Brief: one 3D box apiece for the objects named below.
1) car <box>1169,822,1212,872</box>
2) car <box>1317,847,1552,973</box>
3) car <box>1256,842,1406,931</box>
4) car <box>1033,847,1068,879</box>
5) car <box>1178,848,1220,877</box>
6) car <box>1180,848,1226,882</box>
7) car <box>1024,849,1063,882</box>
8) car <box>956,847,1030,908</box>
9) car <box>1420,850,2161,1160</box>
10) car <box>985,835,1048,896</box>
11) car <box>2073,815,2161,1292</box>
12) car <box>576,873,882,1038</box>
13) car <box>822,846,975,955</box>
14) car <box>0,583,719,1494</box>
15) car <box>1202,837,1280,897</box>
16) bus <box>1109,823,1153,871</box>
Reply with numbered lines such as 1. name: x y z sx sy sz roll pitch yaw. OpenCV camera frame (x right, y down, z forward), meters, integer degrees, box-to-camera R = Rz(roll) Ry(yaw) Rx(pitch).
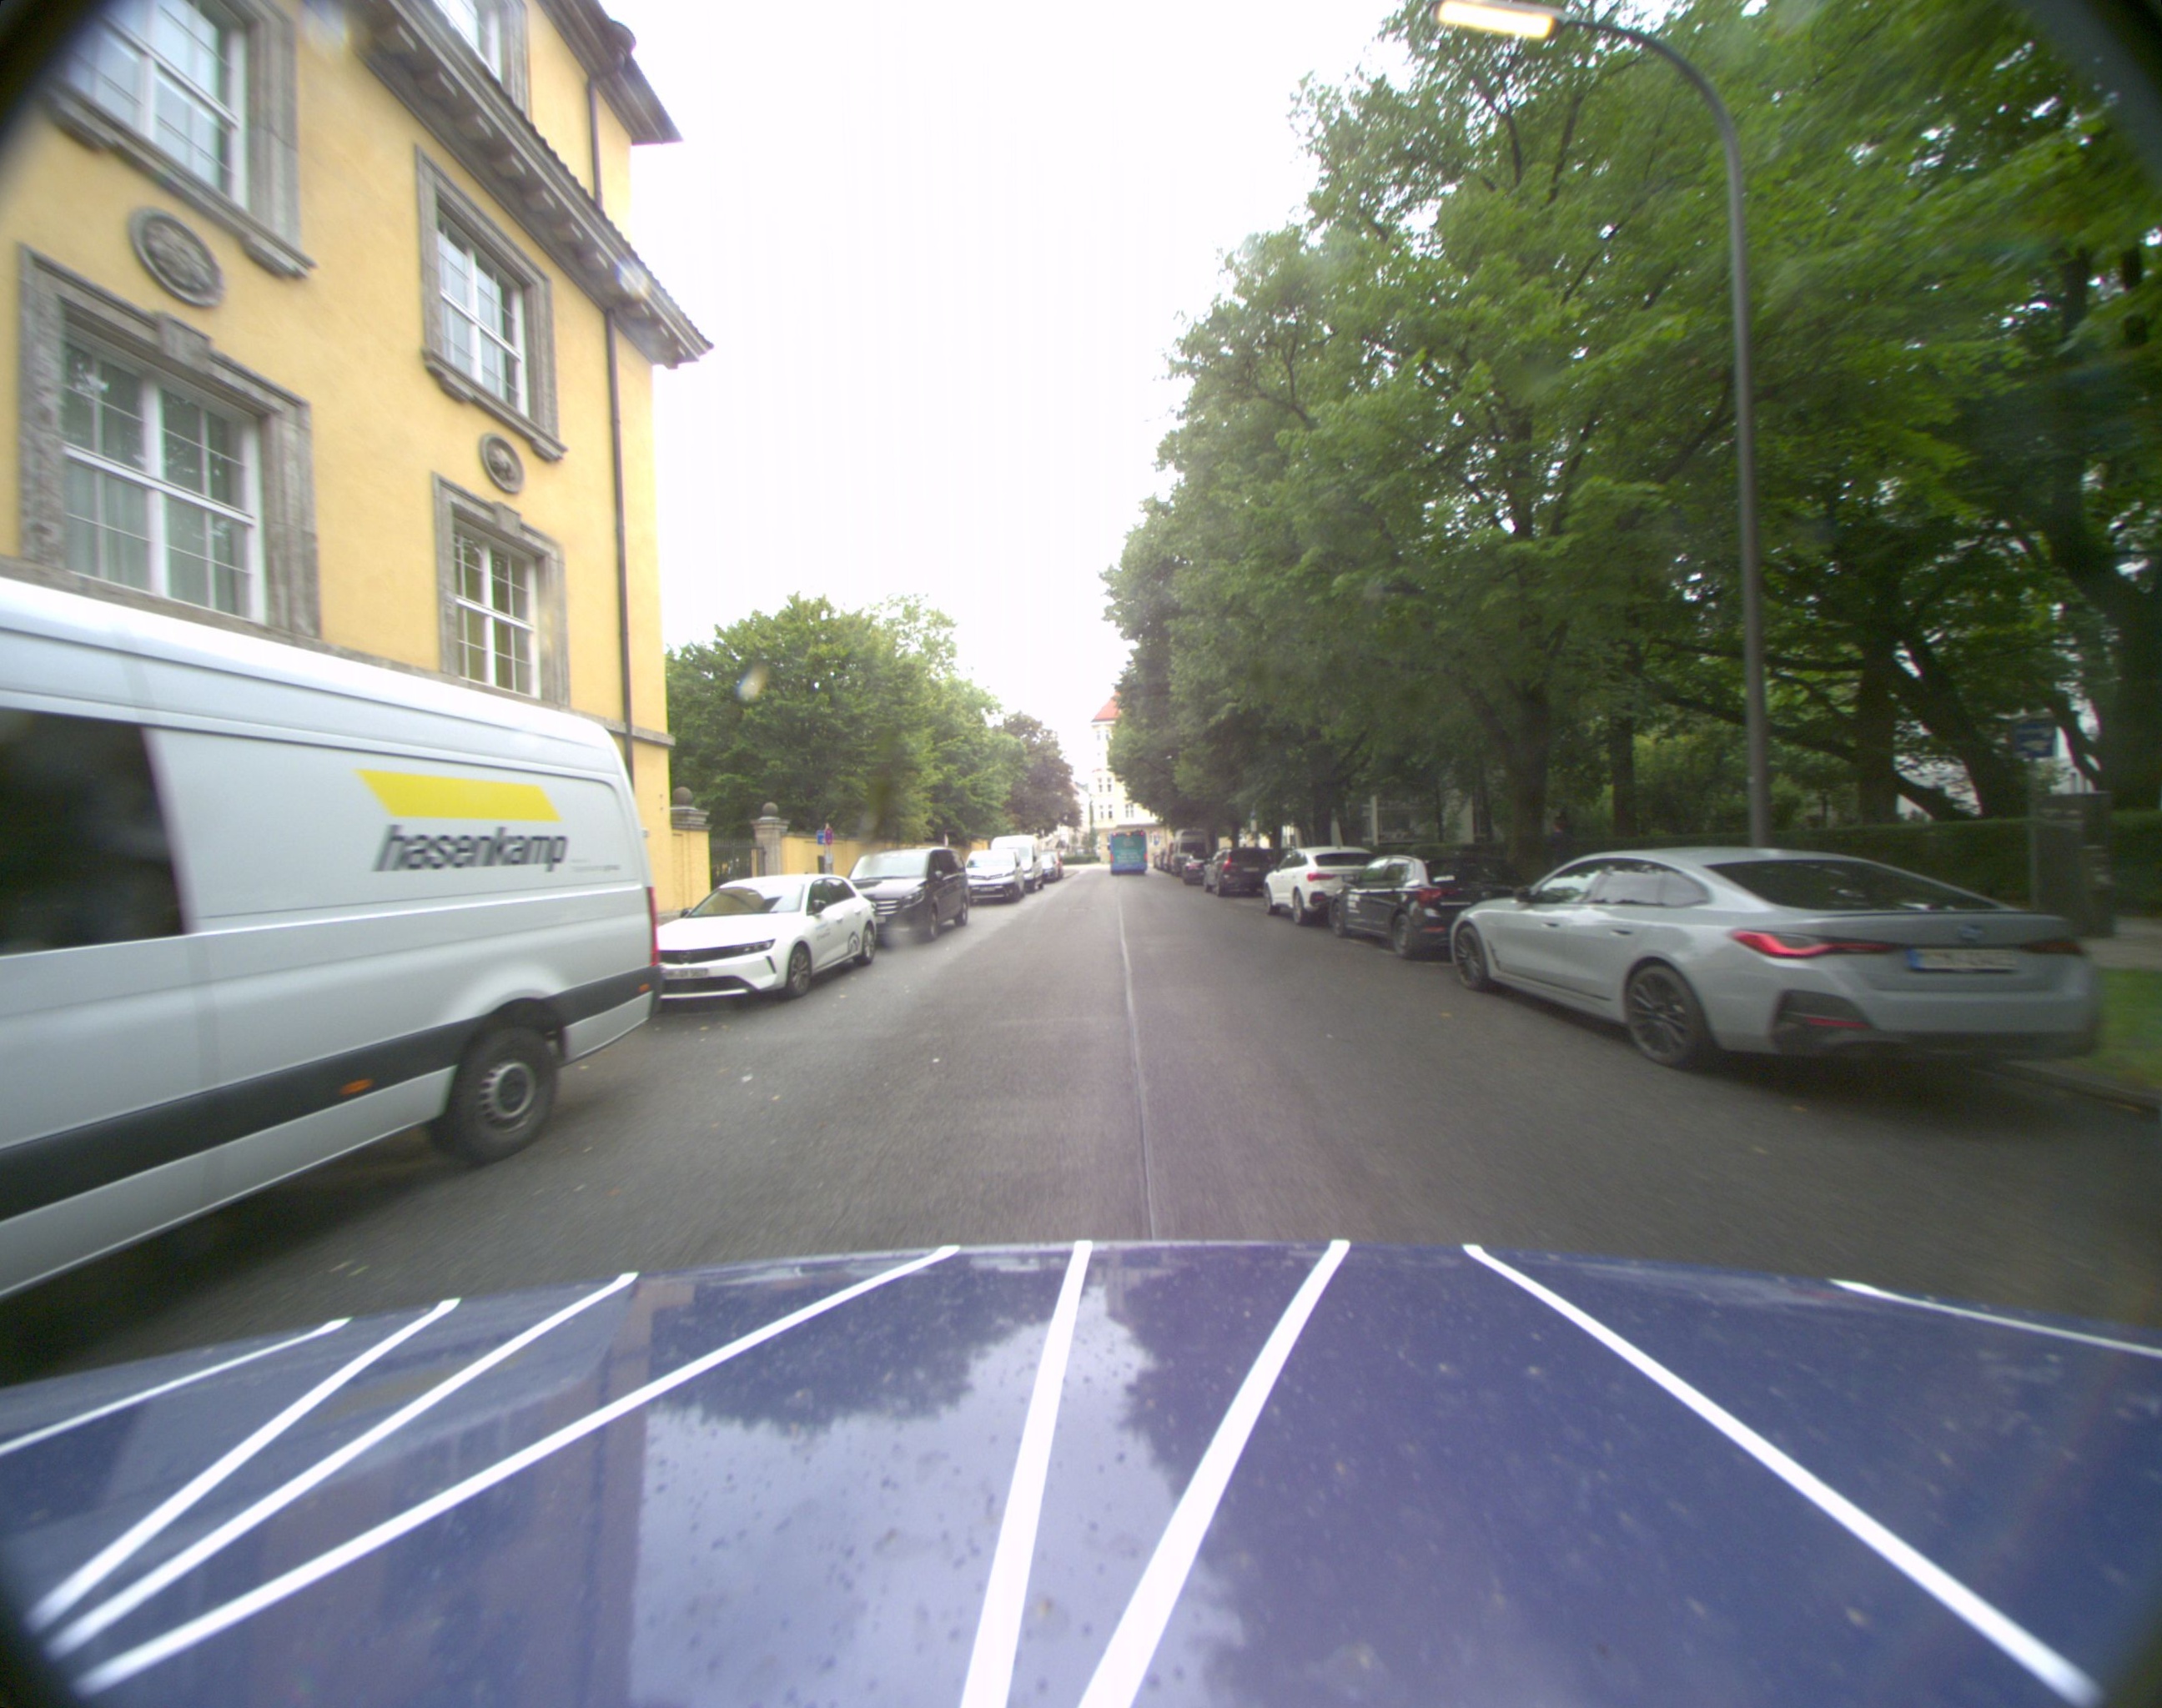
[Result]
1. car: 6.797 -0.489 47.747 1.949 2.838 6.235 -2 2 3
2. car: 5.015 0.678 11.469 1.676 1.461 4.103 -2 1 1
3. car: 5.158 0.572 16.373 1.788 1.588 4.584 -2 1 1
4. car: -1.966 0.540 50.616 1.863 1.956 5.445 -2 0 2
5. car: 6.410 0.433 41.606 1.794 1.429 4.579 -2 0 4
6. car: 5.637 0.498 35.534 1.794 1.429 4.553 -2 0 6
7. car: -2.186 0.662 45.439 1.863 1.731 4.602 -4 1 2
8. car: -3.086 0.742 27.755 2.018 1.895 5.163 -4 1 0
9. car: 4.750 0.760 6.329 1.813 1.461 4.997 -2 1 3
10. car: -2.826 0.396 34.658 2.100 2.473 5.739 -2 2 2
11. car: 4.369 0.715 0.468 1.769 1.613 4.523 0 1 5
12. car: -4.171 1.099 9.929 1.875 1.450 4.254 -2 1 1
13. car: -3.630 0.817 16.184 1.875 1.858 4.986 -2 1 1
14. car: -4.194 0.556 2.516 2.059 2.658 7.613 -2 1 1
15. car: 5.394 0.369 26.178 1.788 1.866 4.548 -1 1 1
16. bus: 3.767 -0.726 61.174 2.866 3.221 18.423 -2 1 2
